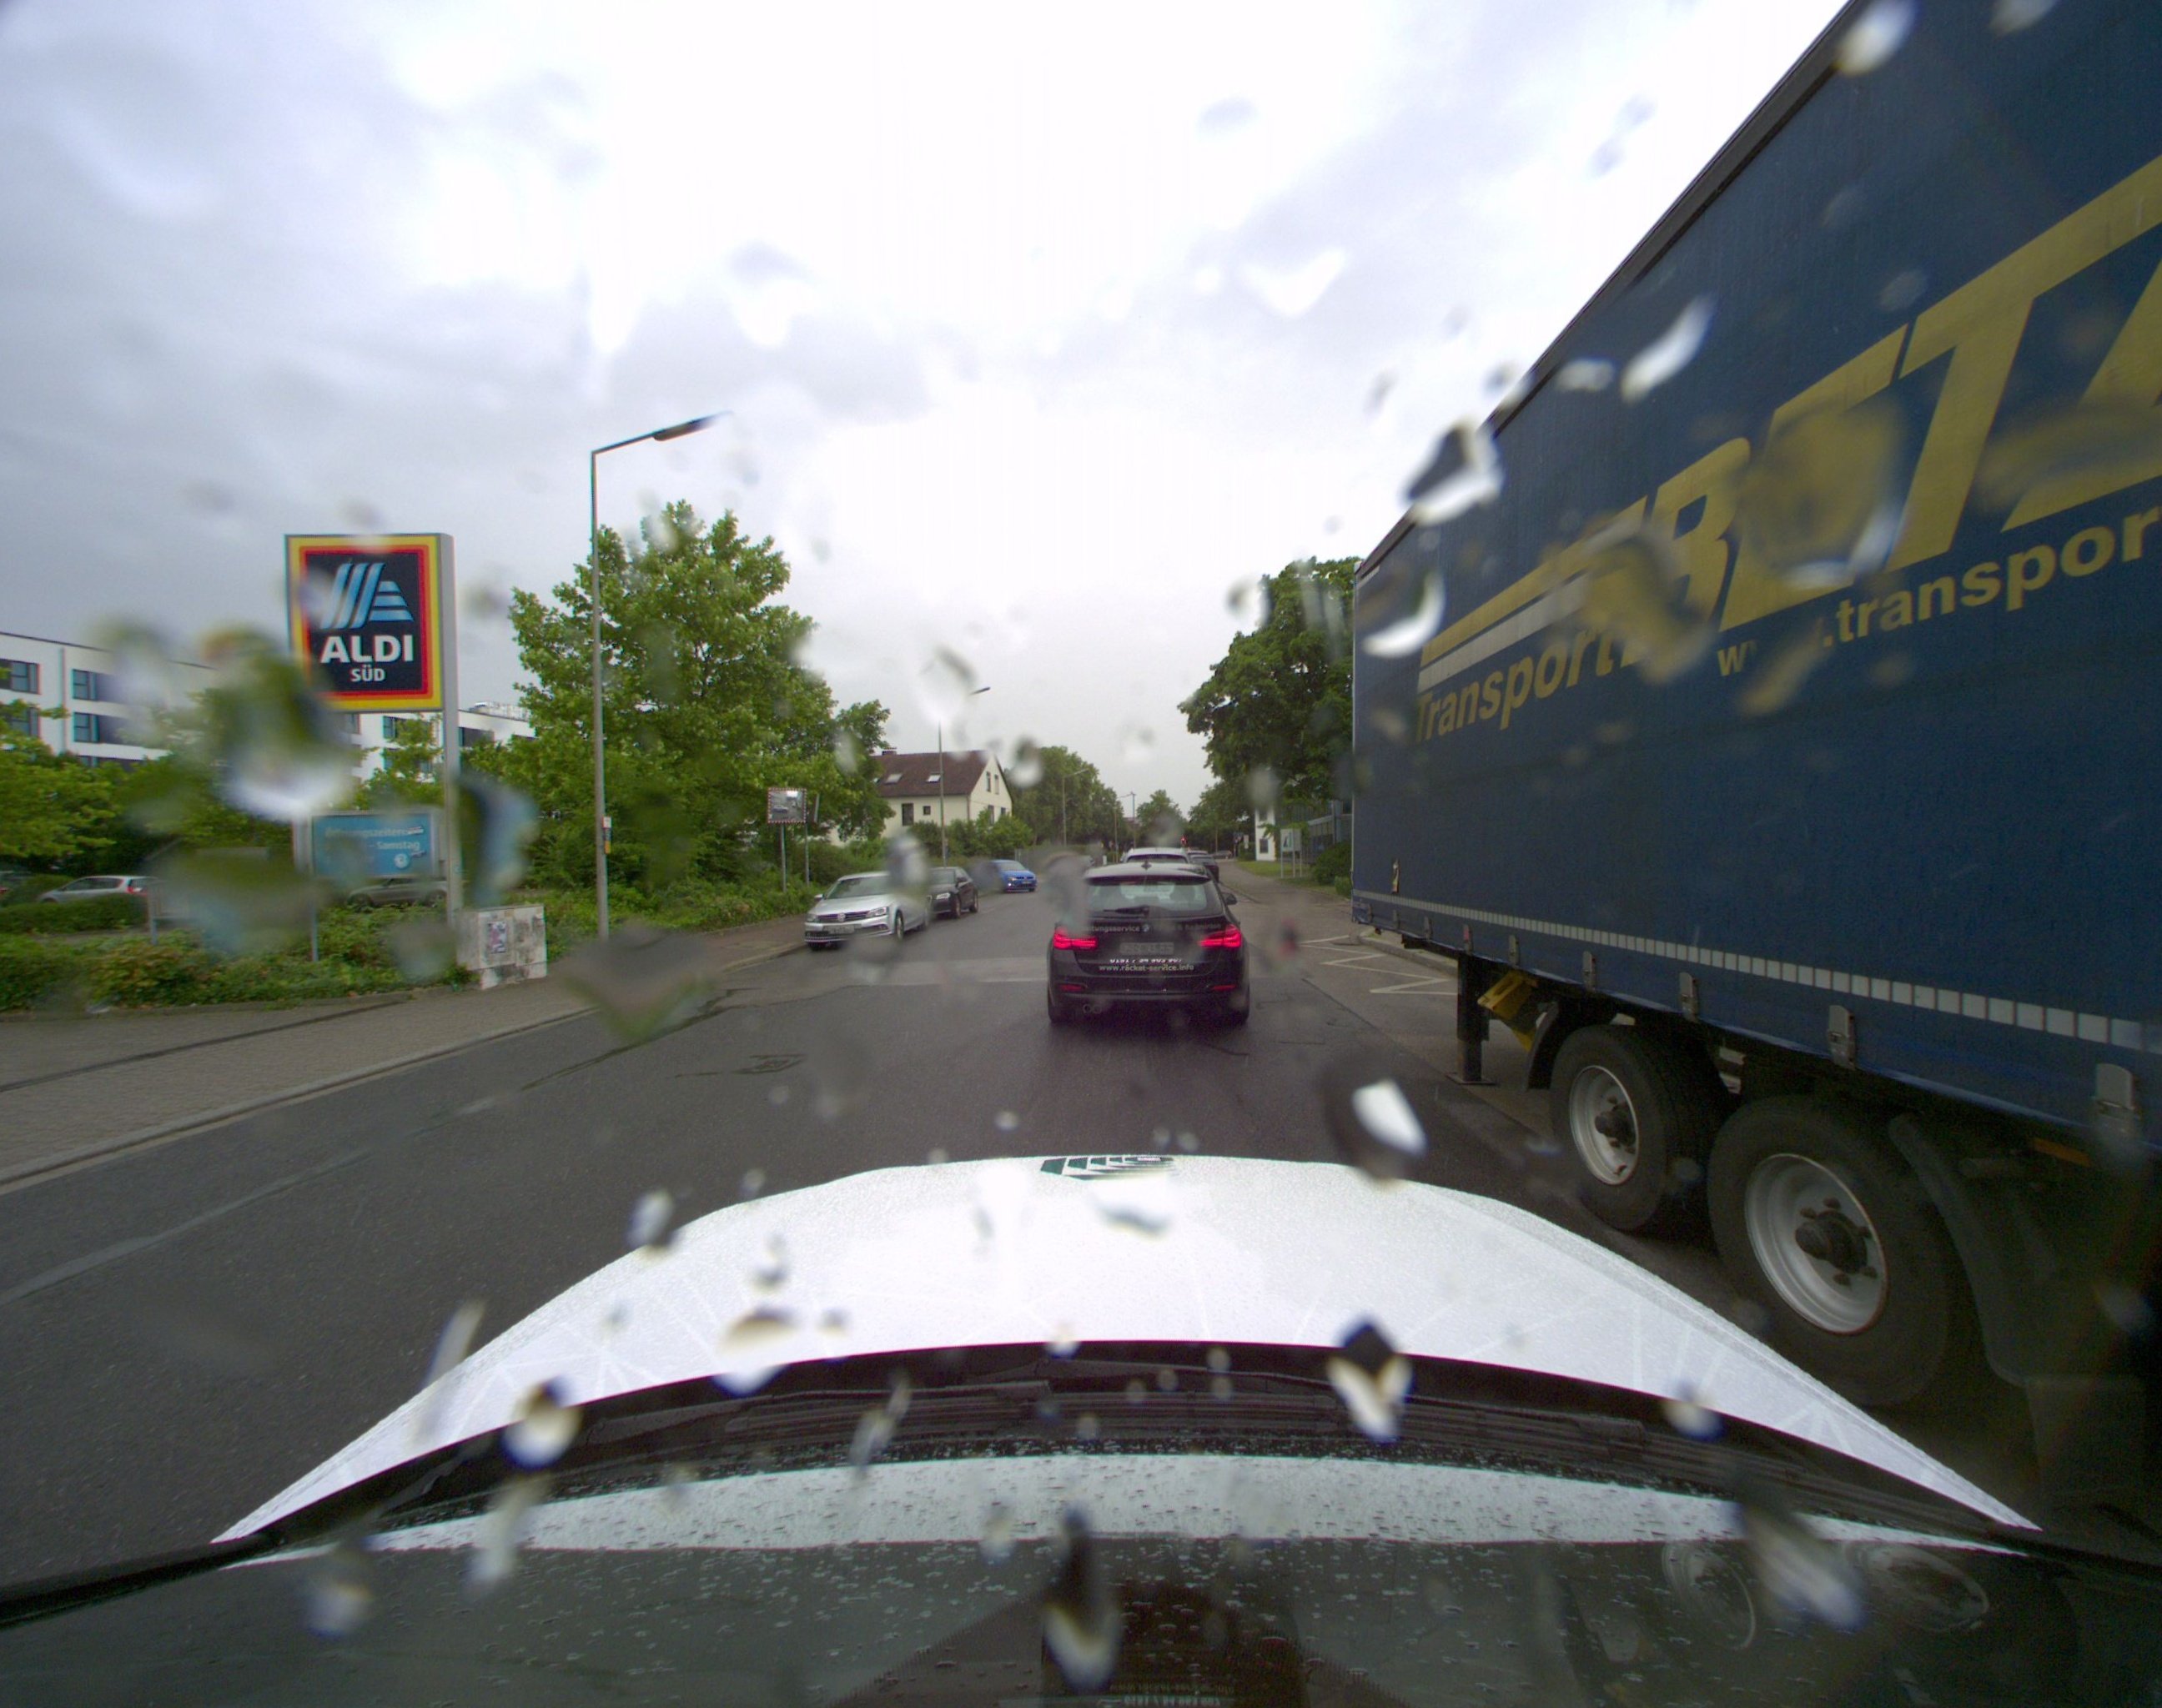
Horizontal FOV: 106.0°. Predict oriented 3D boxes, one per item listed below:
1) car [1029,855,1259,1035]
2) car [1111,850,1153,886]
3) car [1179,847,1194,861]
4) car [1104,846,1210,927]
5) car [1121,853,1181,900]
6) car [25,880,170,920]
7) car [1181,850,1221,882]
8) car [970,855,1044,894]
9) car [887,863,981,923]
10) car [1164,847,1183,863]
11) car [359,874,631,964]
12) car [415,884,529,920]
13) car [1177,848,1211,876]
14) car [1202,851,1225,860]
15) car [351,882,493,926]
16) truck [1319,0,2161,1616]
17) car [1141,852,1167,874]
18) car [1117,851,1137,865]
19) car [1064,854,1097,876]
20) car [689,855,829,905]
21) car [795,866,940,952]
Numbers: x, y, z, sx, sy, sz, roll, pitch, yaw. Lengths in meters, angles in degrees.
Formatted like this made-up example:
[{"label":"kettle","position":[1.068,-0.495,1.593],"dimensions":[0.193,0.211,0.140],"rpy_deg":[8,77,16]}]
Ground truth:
[{"label":"car","position":[0.566,0.735,8.449],"dimensions":[1.797,1.395,4.002],"rpy_deg":[-1,0,2]},{"label":"car","position":[2.397,0.624,37.650],"dimensions":[1.796,1.586,4.005],"rpy_deg":[-1,0,5]},{"label":"car","position":[13.217,-0.018,102.187],"dimensions":[1.795,1.586,4.008],"rpy_deg":[-2,0,6]},{"label":"car","position":[1.577,0.662,18.247],"dimensions":[1.800,1.586,3.995],"rpy_deg":[-1,0,-3]},{"label":"car","position":[2.472,0.780,29.671],"dimensions":[1.799,1.586,3.998],"rpy_deg":[-1,0,-1]},{"label":"car","position":[-43.854,2.021,36.385],"dimensions":[3.973,1.529,2.000],"rpy_deg":[-2,0,0]},{"label":"car","position":[6.336,0.619,43.356],"dimensions":[1.796,1.586,4.005],"rpy_deg":[-1,0,5]},{"label":"car","position":[-3.435,0.972,37.295],"dimensions":[1.718,1.594,3.798],"rpy_deg":[-4,0,-33]},{"label":"car","position":[-4.010,1.010,22.765],"dimensions":[1.699,1.367,3.840],"rpy_deg":[-4,0,2]},{"label":"car","position":[9.574,0.079,84.304],"dimensions":[1.795,1.586,4.008],"rpy_deg":[-2,0,6]},{"label":"car","position":[-10.278,1.103,14.481],"dimensions":[3.558,1.460,1.712],"rpy_deg":[0,0,0]},{"label":"car","position":[-29.556,2.304,39.631],"dimensions":[3.973,1.529,2.000],"rpy_deg":[-2,0,0]},{"label":"car","position":[6.736,0.464,48.866],"dimensions":[1.796,1.586,4.005],"rpy_deg":[-1,0,5]},{"label":"car","position":[21.991,0.313,135.231],"dimensions":[3.801,1.367,1.716],"rpy_deg":[-1,1,10]},{"label":"car","position":[-26.191,1.973,32.473],"dimensions":[3.973,1.499,2.000],"rpy_deg":[-2,0,0]},{"label":"truck","position":[3.331,-0.453,3.153],"dimensions":[2.731,3.611,7.752],"rpy_deg":[1,0,2]},{"label":"car","position":[5.611,0.667,62.256],"dimensions":[1.795,1.586,4.007],"rpy_deg":[-1,0,7]},{"label":"car","position":[5.171,0.396,91.186],"dimensions":[1.695,1.367,3.848],"rpy_deg":[-4,0,9]},{"label":"car","position":[-0.013,0.776,59.409],"dimensions":[1.695,1.367,3.848],"rpy_deg":[-4,0,9]},{"label":"car","position":[-10.902,0.865,27.815],"dimensions":[3.975,1.540,1.910],"rpy_deg":[-2,0,-1]},{"label":"car","position":[-4.312,1.042,17.217],"dimensions":[1.700,1.367,4.602],"rpy_deg":[-4,0,1]}]
